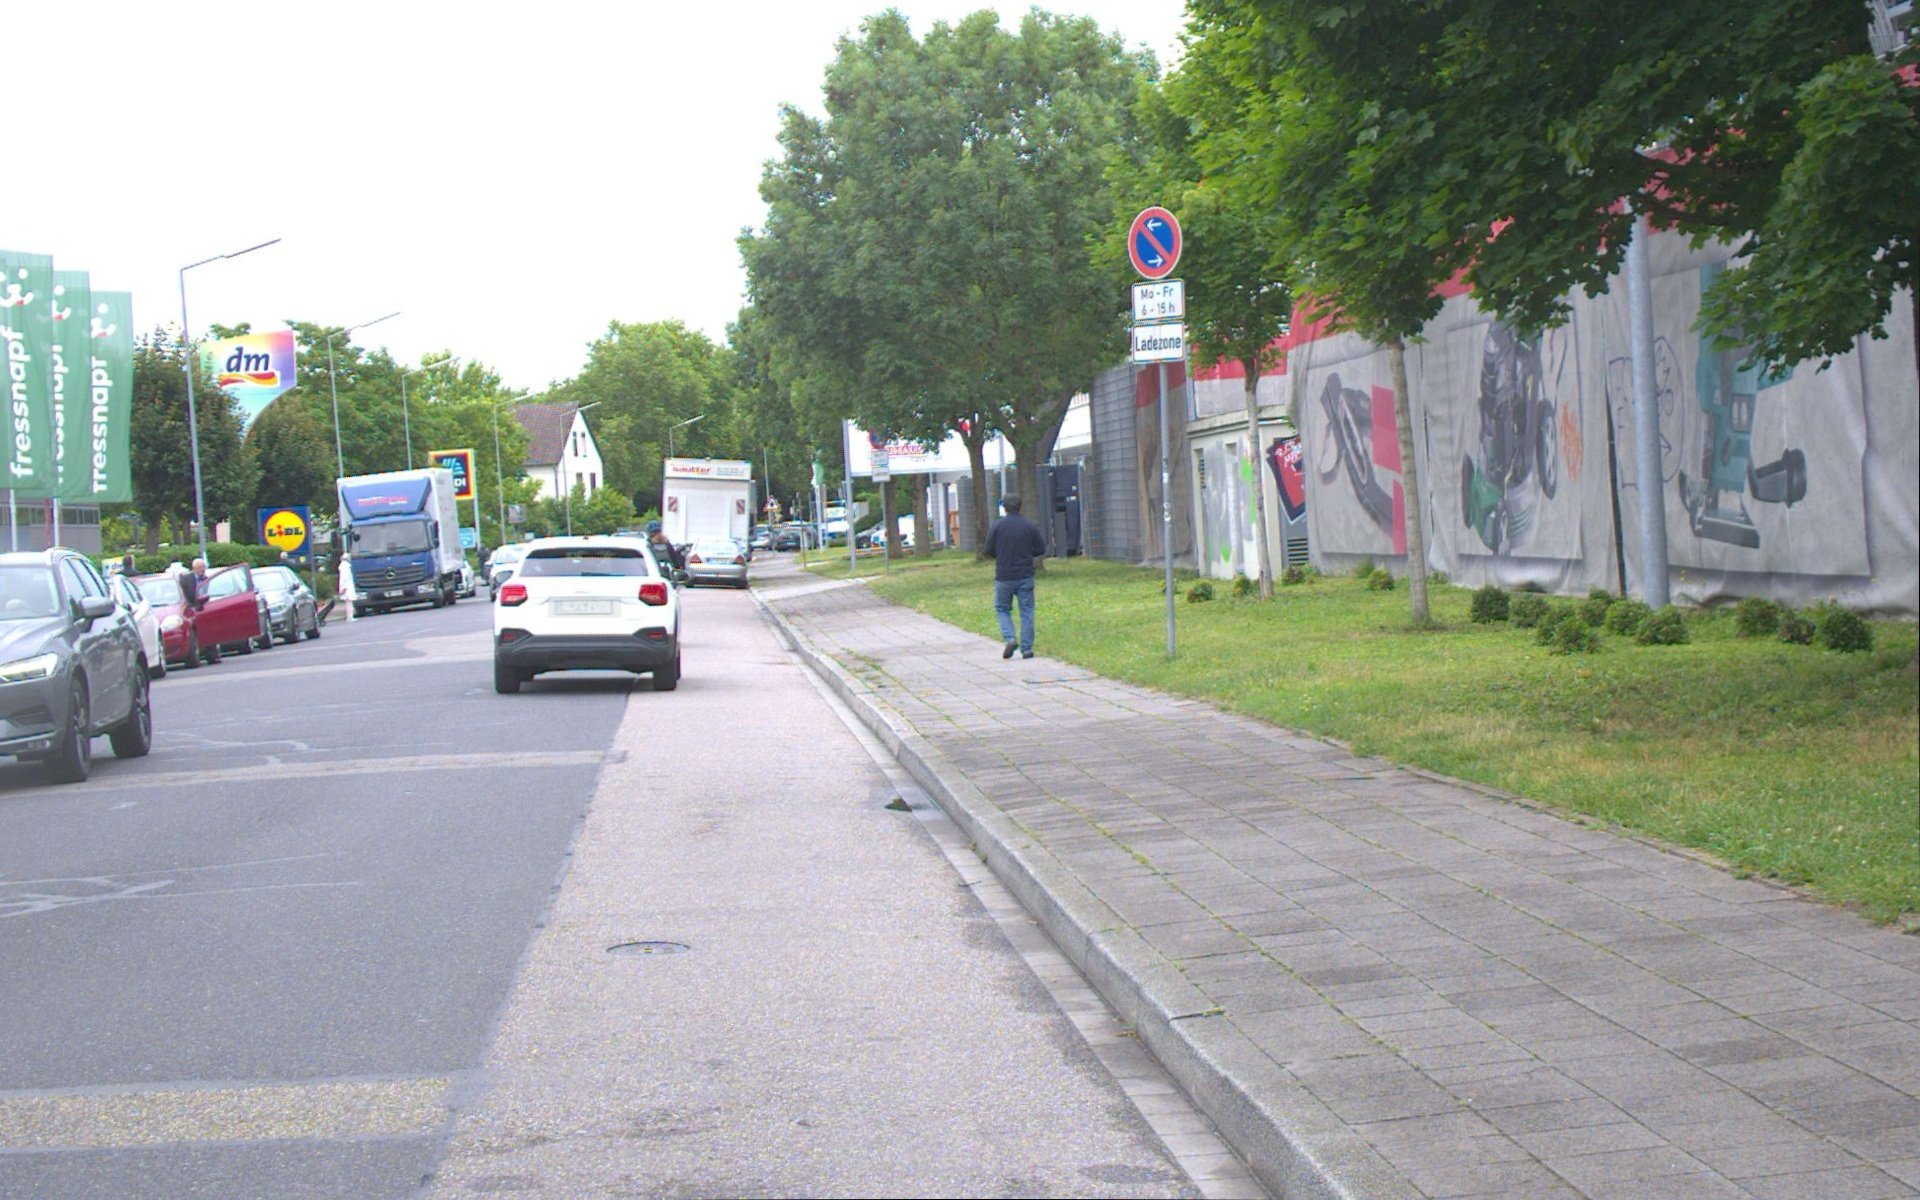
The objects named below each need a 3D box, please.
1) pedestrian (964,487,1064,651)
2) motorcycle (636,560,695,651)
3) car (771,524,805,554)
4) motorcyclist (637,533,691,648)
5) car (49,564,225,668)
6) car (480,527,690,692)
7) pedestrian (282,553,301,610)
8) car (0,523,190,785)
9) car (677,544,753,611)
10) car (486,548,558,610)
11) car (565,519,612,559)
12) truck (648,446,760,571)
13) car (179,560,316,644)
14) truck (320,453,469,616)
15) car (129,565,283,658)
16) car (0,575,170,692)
[{"bbox_3d":[0.545,-0.315,35.202,0.919,1.629,0.853,-2,1,-2],"label":"pedestrian"},{"bbox_3d":[-4.070,0.060,47.557,0.641,1.174,2.114,-4,1,-2],"label":"motorcycle"},{"bbox_3d":[-10.088,-3.577,201.106,1.886,1.677,4.255,-2,1,-3],"label":"car"},{"bbox_3d":[-4.098,-0.139,47.601,0.625,1.548,0.604,-4,1,-2],"label":"motorcyclist"},{"bbox_3d":[-12.475,0.213,52.321,1.898,1.362,4.001,-4,1,-4],"label":"car"},{"bbox_3d":[-3.744,0.044,34.951,1.886,1.526,4.255,-2,1,-3],"label":"car"},{"bbox_3d":[-18.088,-0.507,93.011,0.401,1.526,0.485,-4,1,-10],"label":"pedestrian"},{"bbox_3d":[-6.977,0.364,24.613,1.933,1.678,4.496,-5,1,-2],"label":"car"},{"bbox_3d":[-6.939,-0.637,97.149,1.993,1.799,4.001,-2,1,-5],"label":"car"},{"bbox_3d":[-11.906,-0.581,93.605,1.598,1.522,3.528,-5,1,-4],"label":"car"},{"bbox_3d":[-16.599,-2.703,153.829,1.993,1.678,4.001,-2,1,-5],"label":"car"},{"bbox_3d":[-7.978,-2.731,106.067,3.134,3.572,10.052,-2,1,-5],"label":"truck"},{"bbox_3d":[-13.159,0.012,63.682,1.898,1.362,4.001,-4,1,-4],"label":"car"},{"bbox_3d":[-14.917,-1.747,91.113,2.973,3.942,6.406,-5,2,-4],"label":"truck"},{"bbox_3d":[-12.629,0.162,57.810,1.898,1.362,4.001,-4,1,-4],"label":"car"},{"bbox_3d":[-11.776,0.418,45.926,1.897,1.362,4.001,-4,1,-7],"label":"car"}]
